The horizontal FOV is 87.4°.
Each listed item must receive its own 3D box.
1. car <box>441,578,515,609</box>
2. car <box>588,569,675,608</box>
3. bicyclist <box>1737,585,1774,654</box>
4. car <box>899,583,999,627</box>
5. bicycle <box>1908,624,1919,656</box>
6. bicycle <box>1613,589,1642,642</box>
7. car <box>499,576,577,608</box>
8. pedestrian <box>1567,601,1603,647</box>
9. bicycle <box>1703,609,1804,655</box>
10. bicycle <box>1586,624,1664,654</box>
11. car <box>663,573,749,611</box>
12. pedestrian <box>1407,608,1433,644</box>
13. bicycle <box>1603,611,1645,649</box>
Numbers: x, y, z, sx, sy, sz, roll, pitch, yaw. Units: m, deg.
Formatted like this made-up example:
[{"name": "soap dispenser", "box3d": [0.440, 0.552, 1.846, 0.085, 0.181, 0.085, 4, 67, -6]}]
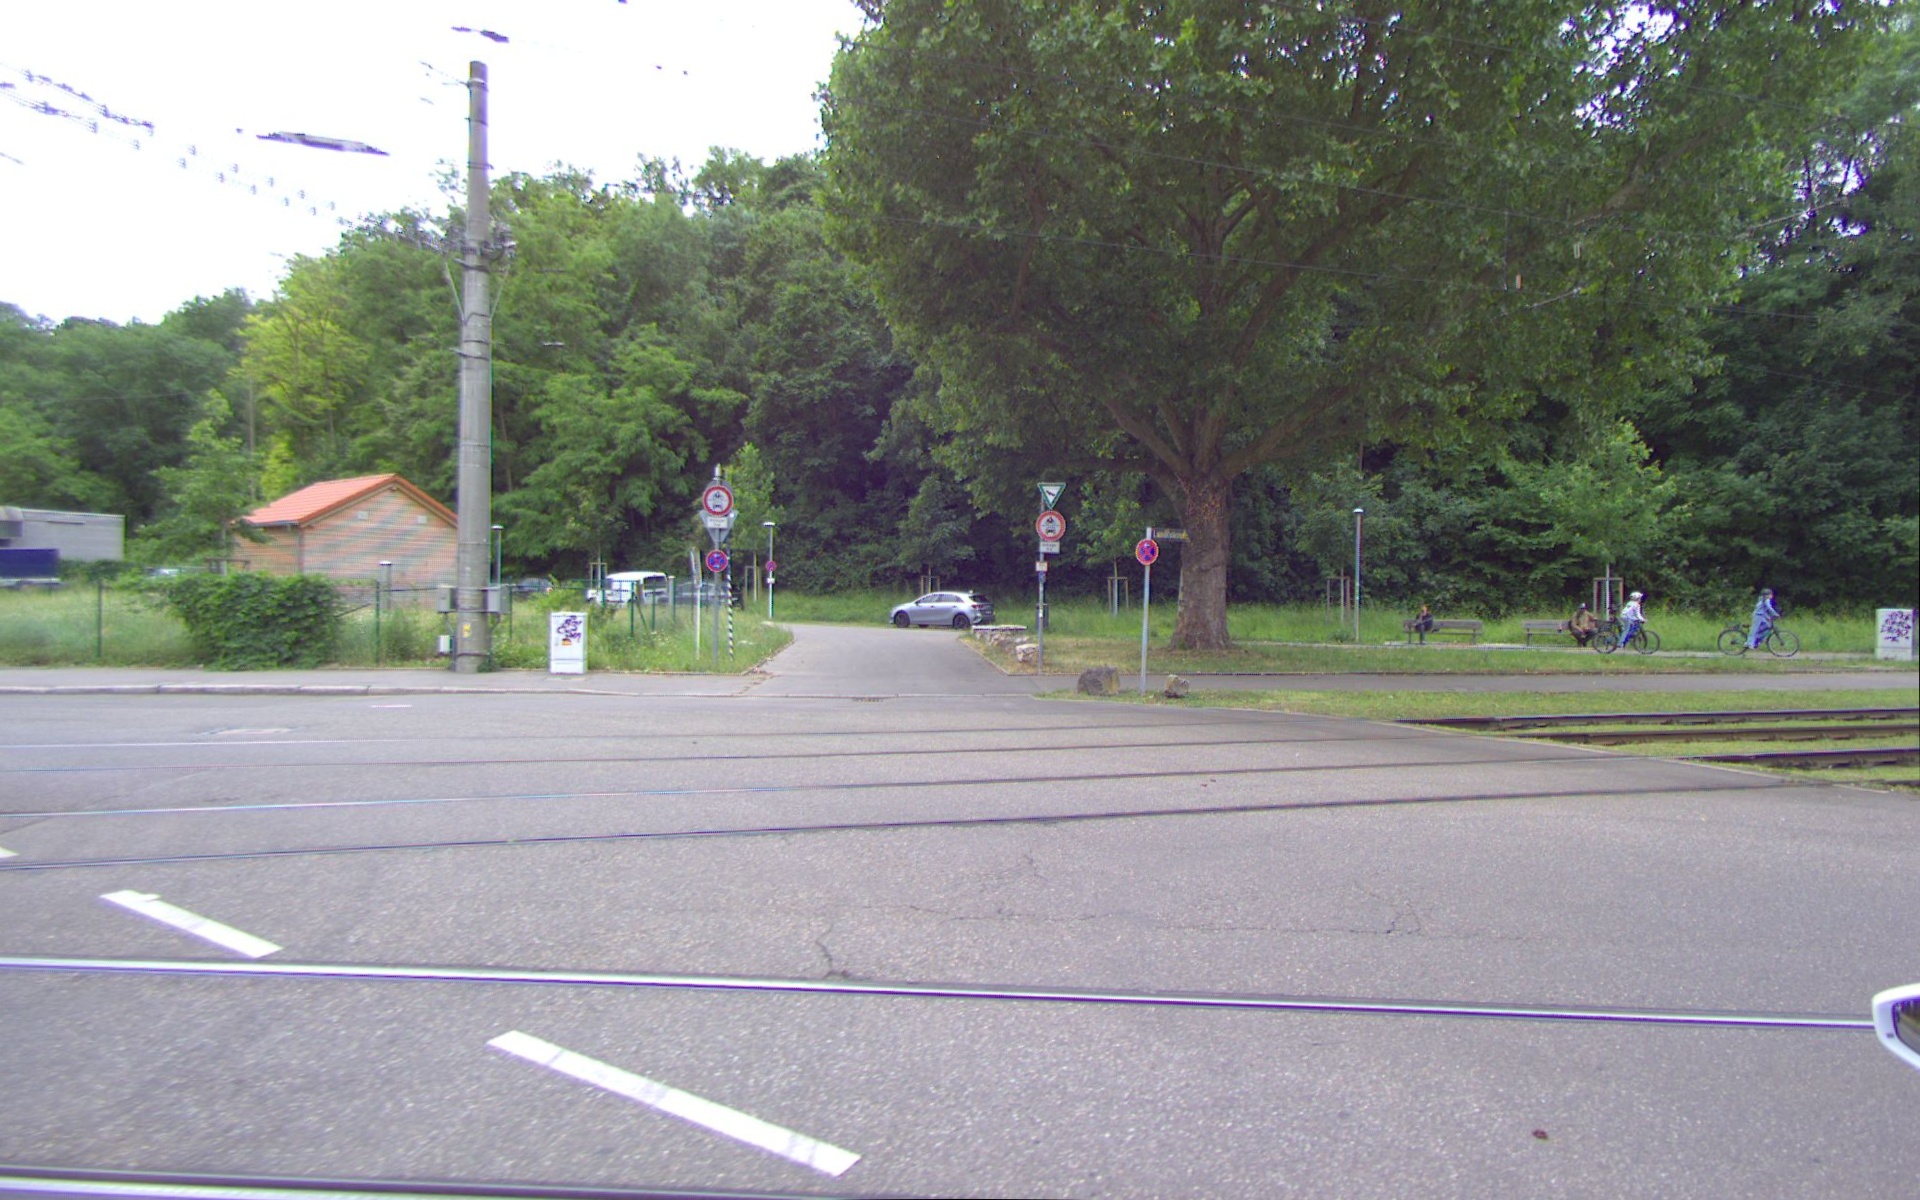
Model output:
[{"name": "car", "box3d": [-25.259, -0.377, 52.592, 3.615, 1.396, 1.754, 3, 4, 30]}, {"name": "car", "box3d": [-15.251, -0.569, 46.617, 3.615, 1.635, 1.906, 3, 4, 30]}, {"name": "bicyclist", "box3d": [20.062, 0.471, 25.341, 0.612, 1.698, 0.474, 1, 4, 28]}, {"name": "car", "box3d": [-0.428, 0.159, 38.416, 3.440, 1.443, 1.697, 3, 4, 30]}, {"name": "bicycle", "box3d": [23.722, 0.948, 23.967, 1.531, 0.749, 0.454, -2, 4, 30]}, {"name": "bicycle", "box3d": [17.451, 0.414, 26.264, 0.506, 1.348, 0.455, -1, 4, 17]}, {"name": "car", "box3d": [-20.890, -0.429, 49.723, 3.615, 1.396, 1.754, 3, 4, 30]}, {"name": "pedestrian", "box3d": [17.754, 0.665, 28.540, 0.660, 1.252, 0.580, 2, 4, 17]}, {"name": "bicycle", "box3d": [20.021, 0.794, 25.389, 1.909, 1.055, 0.474, 1, 4, 29]}, {"name": "bicycle", "box3d": [17.406, 1.013, 26.319, 1.620, 0.749, 0.455, -1, 4, 17]}, {"name": "car", "box3d": [-11.067, -0.370, 43.772, 3.440, 1.443, 1.697, 3, 4, 30]}, {"name": "pedestrian", "box3d": [13.791, 0.772, 30.147, 0.608, 1.003, 0.532, 2, 4, 18]}, {"name": "bicycle", "box3d": [18.770, 0.831, 28.423, 0.610, 0.897, 1.745, 3, 4, 22]}]
